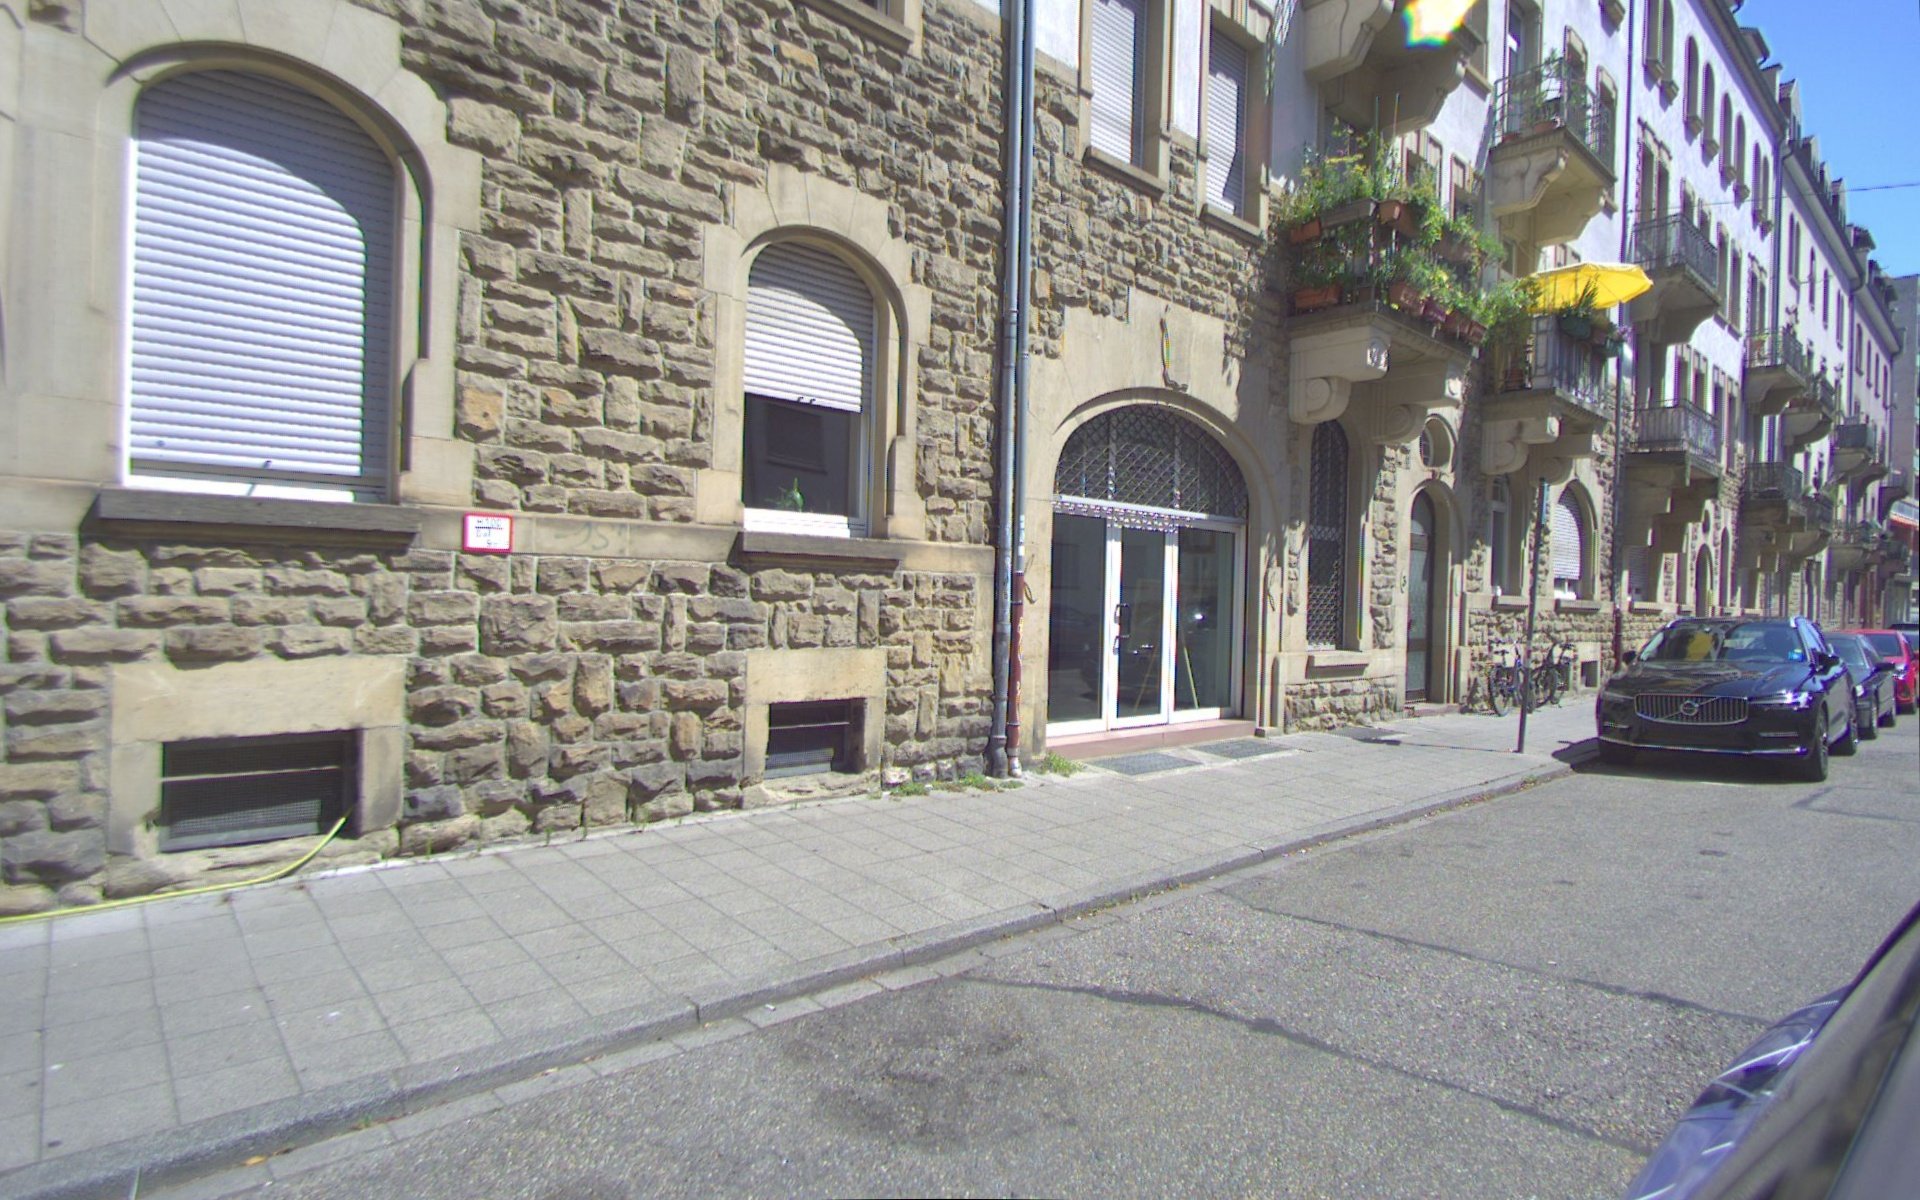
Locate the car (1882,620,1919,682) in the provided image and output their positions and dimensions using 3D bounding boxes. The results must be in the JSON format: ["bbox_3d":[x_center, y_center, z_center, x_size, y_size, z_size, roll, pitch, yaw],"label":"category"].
[{"bbox_3d":[25.031,1.266,25.726,4.514,1.471,1.720,1,-1,-39],"label":"car"}]

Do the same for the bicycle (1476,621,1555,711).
[{"bbox_3d":[8.128,0.927,14.772,1.744,1.223,0.385,1,1,-41],"label":"bicycle"}]

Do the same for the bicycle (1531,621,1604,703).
[{"bbox_3d":[9.810,0.972,16.323,1.744,1.223,0.442,1,1,-41],"label":"bicycle"}]

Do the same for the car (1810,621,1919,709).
[{"bbox_3d":[17.269,1.142,18.928,3.776,1.471,1.572,1,-1,-42],"label":"car"}]

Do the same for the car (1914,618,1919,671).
[{"bbox_3d":[29.130,1.299,29.309,4.587,1.476,1.740,1,2,-42],"label":"car"}]

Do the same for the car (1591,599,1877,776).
[{"bbox_3d":[8.775,0.812,11.319,4.527,1.587,1.835,1,-1,-43],"label":"car"}]

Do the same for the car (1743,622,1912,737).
[{"bbox_3d":[12.771,1.055,14.818,3.906,1.416,1.513,1,-1,-44],"label":"car"}]

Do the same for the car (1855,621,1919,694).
[{"bbox_3d":[21.209,1.226,22.430,3.789,1.471,1.592,1,-1,-42],"label":"car"}]
